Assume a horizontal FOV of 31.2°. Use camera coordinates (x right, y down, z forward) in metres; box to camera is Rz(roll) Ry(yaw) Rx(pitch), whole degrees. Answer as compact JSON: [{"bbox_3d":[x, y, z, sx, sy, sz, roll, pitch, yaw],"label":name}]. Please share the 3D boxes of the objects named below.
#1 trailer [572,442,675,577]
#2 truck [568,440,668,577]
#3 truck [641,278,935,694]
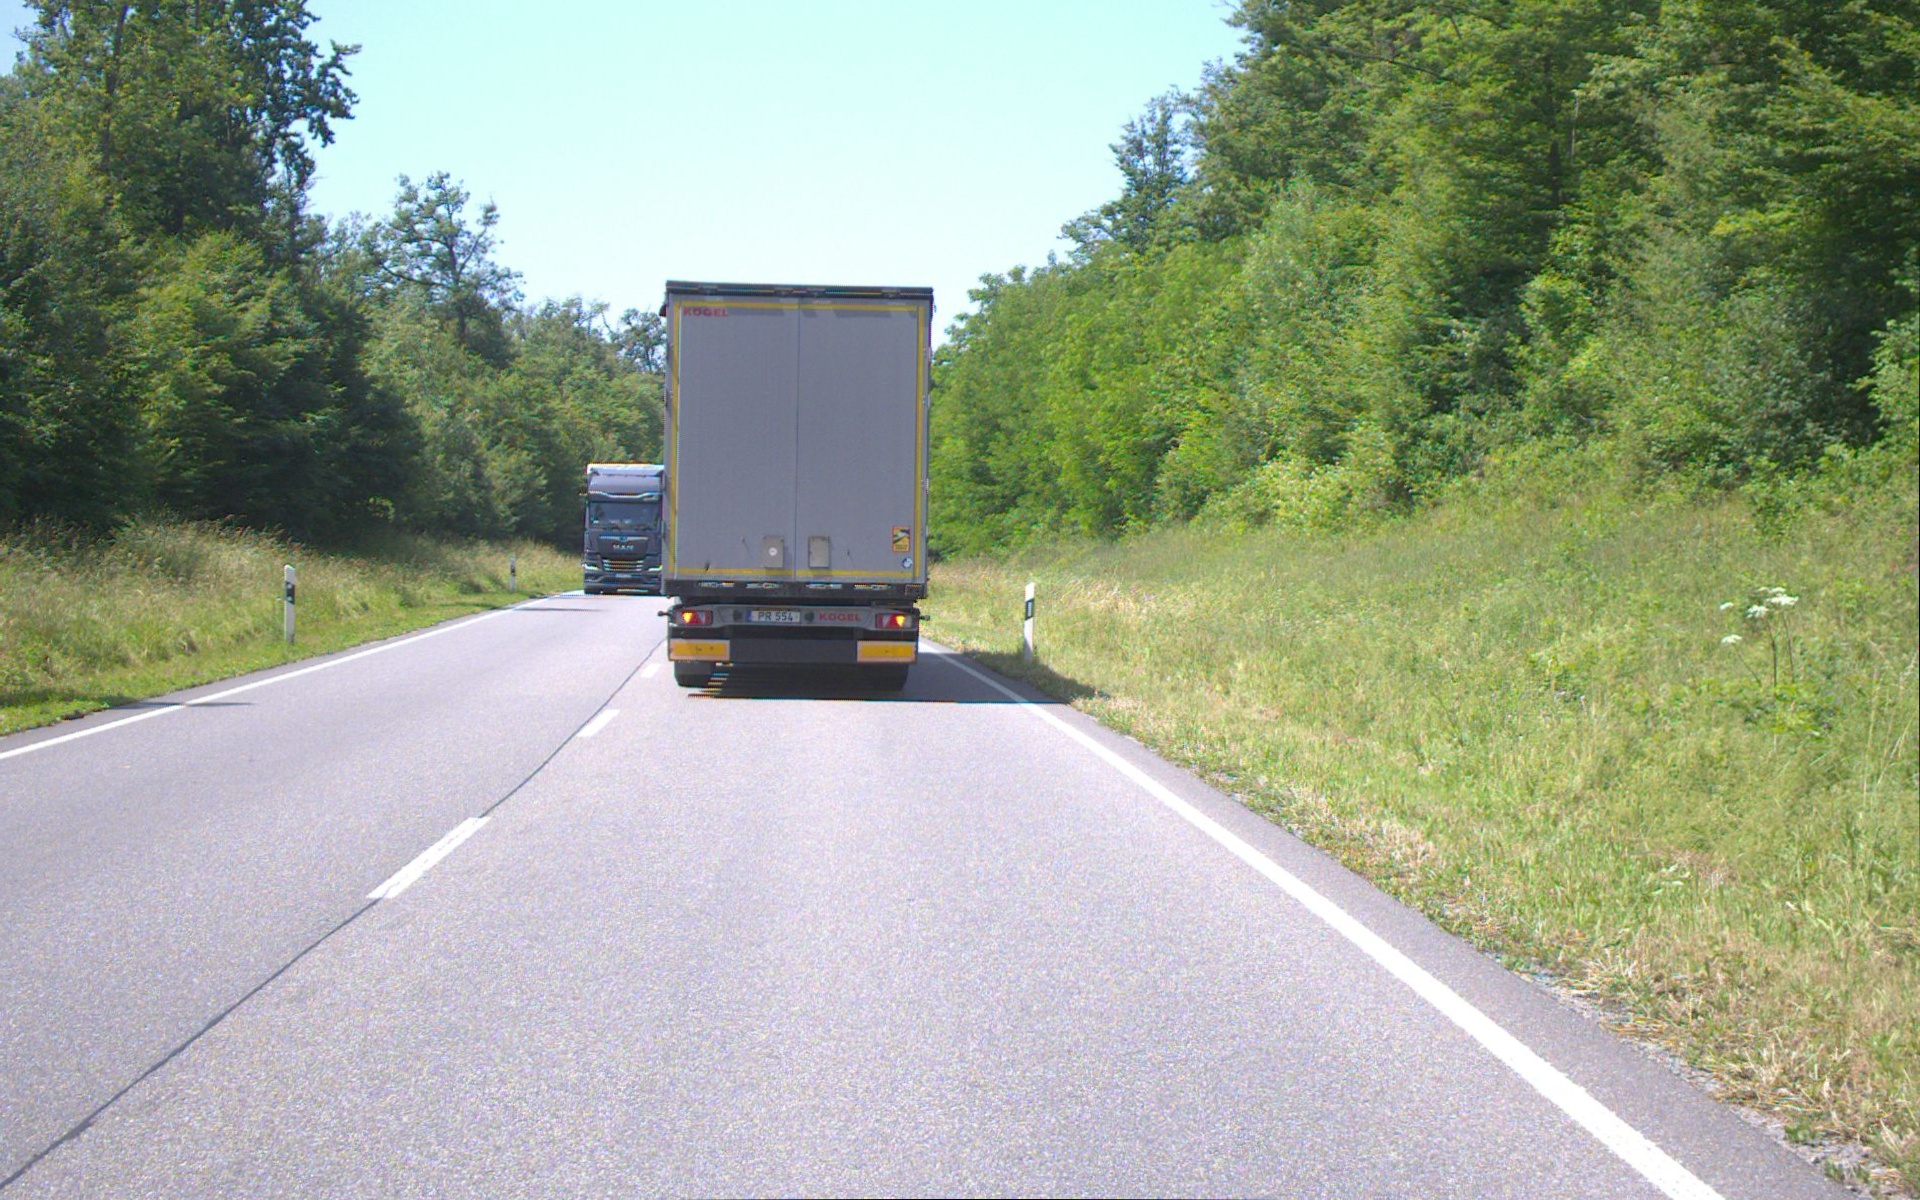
[{"bbox_3d":[-11.134,-2.996,114.856,2.941,4.238,13.622,0,1,-4],"label":"trailer"},{"bbox_3d":[-10.693,-2.865,107.977,2.922,4.201,5.344,0,1,-4],"label":"truck"},{"bbox_3d":[-1.986,-1.212,38.874,2.761,3.933,12.199,1,1,-3],"label":"truck"}]
